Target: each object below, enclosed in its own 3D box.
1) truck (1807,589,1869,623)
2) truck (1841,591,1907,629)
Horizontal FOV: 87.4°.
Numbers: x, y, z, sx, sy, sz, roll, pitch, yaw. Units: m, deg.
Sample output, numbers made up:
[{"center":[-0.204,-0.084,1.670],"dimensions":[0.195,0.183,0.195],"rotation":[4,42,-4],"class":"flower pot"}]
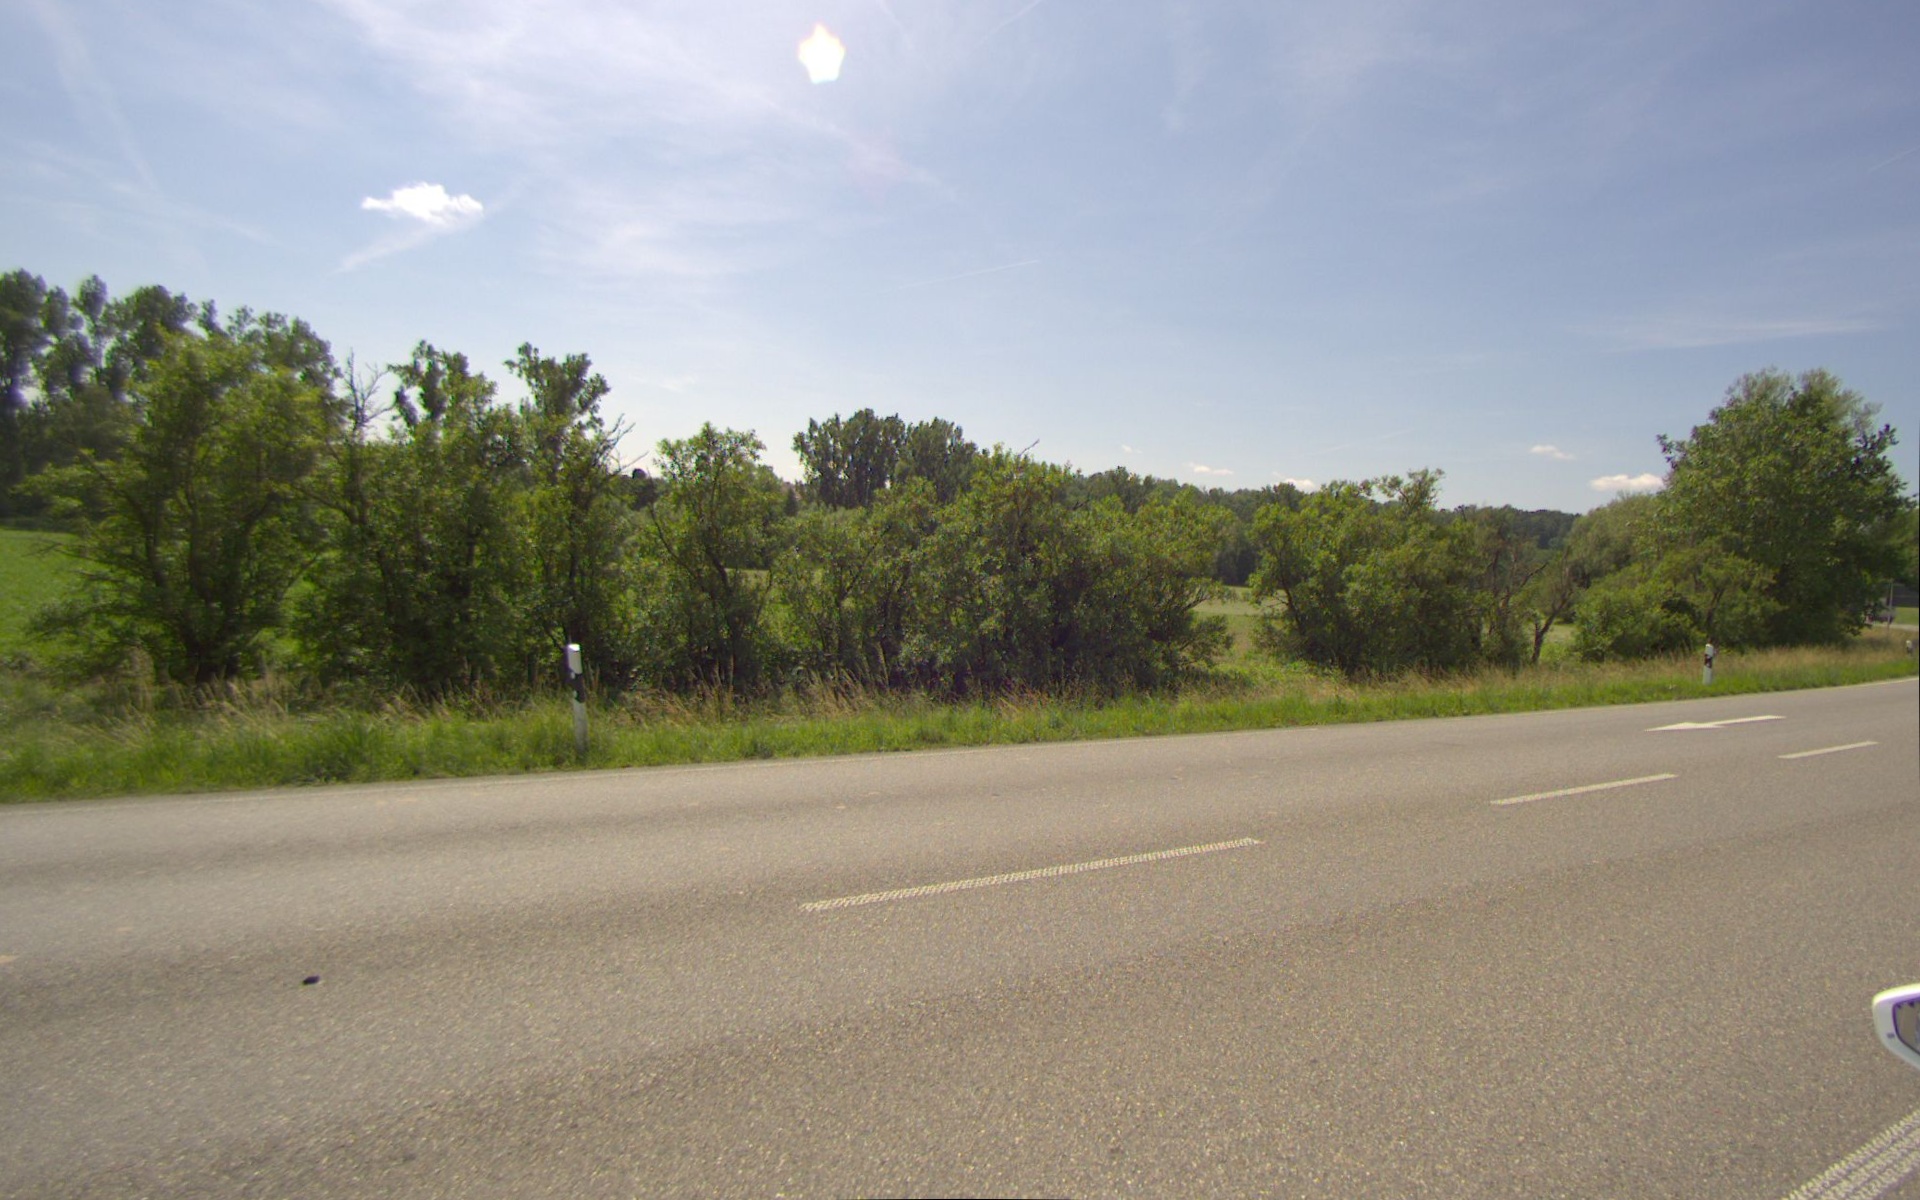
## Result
[{"center":[121.503,0.948,139.189],"dimensions":[3.477,4.296,13.382],"rotation":[5,1,29],"class":"truck"},{"center":[113.677,1.302,125.162],"dimensions":[3.586,4.184,13.065],"rotation":[5,1,32],"class":"truck"}]
